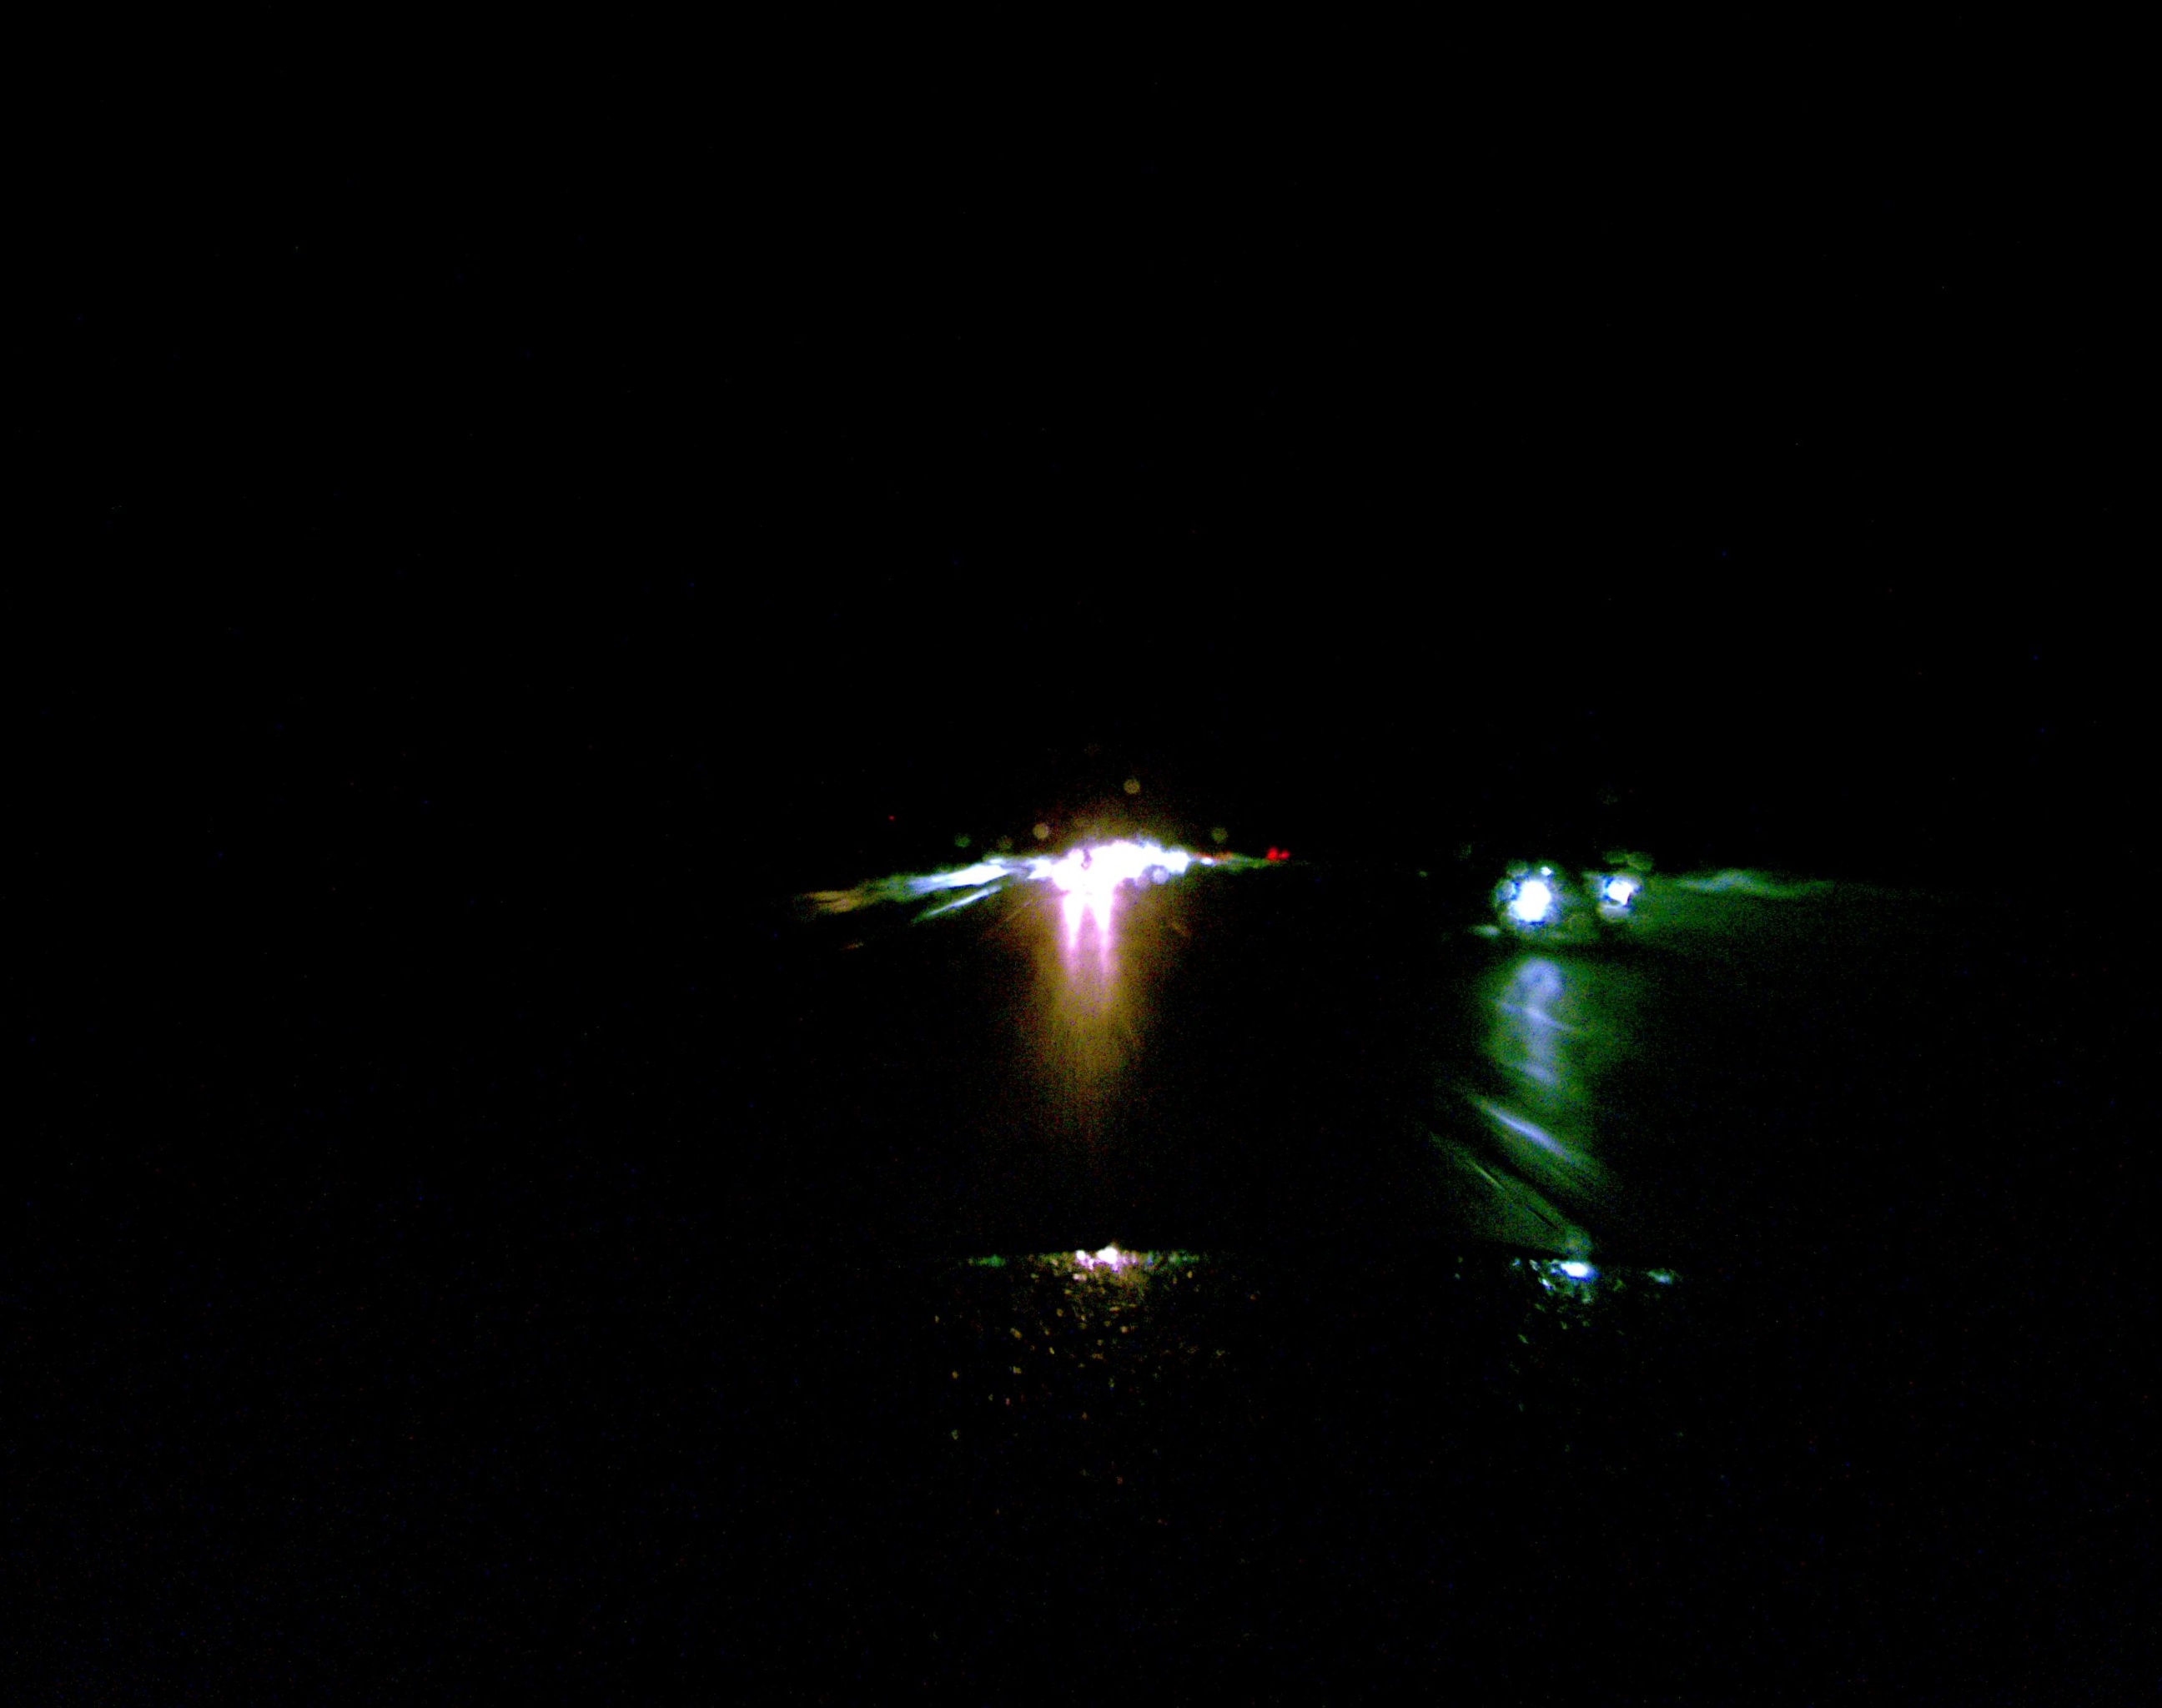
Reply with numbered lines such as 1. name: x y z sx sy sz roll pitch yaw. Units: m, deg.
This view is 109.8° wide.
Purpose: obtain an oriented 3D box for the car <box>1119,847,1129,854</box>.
1. car: 9.418 -0.794 165.889 1.998 1.551 4.587 -2 1 1

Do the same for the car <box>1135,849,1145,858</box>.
1. car: 13.600 -0.091 174.755 1.998 1.797 4.000 -2 1 2

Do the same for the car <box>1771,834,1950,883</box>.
1. car: 27.898 0.128 27.447 1.885 1.548 4.459 -2 1 -1

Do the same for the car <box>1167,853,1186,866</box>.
1. car: 12.859 0.687 102.710 1.998 1.551 4.587 -2 1 1

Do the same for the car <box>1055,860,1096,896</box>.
1. car: -0.201 0.915 30.775 1.525 1.256 3.368 -2 1 1

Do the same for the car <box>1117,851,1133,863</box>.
1. car: 5.946 0.394 102.763 1.998 1.551 4.587 -2 1 1

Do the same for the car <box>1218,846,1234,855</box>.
1. car: 27.130 -0.693 142.241 1.885 1.712 4.562 -2 1 -1

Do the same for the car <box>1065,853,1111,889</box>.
1. car: 0.351 0.825 35.992 1.998 1.542 4.001 -2 -1 1

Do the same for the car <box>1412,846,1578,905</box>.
1. car: 12.062 0.537 22.657 1.999 1.468 5.163 -2 1 -2

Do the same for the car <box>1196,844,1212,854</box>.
1. car: 22.118 -0.897 137.074 1.885 1.832 5.059 -2 1 -1

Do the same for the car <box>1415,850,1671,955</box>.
1. car: 7.607 0.700 13.061 1.998 1.433 3.999 -2 1 1

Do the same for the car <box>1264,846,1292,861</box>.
1. car: 21.818 -0.114 84.423 1.885 1.548 4.459 -2 1 -1
